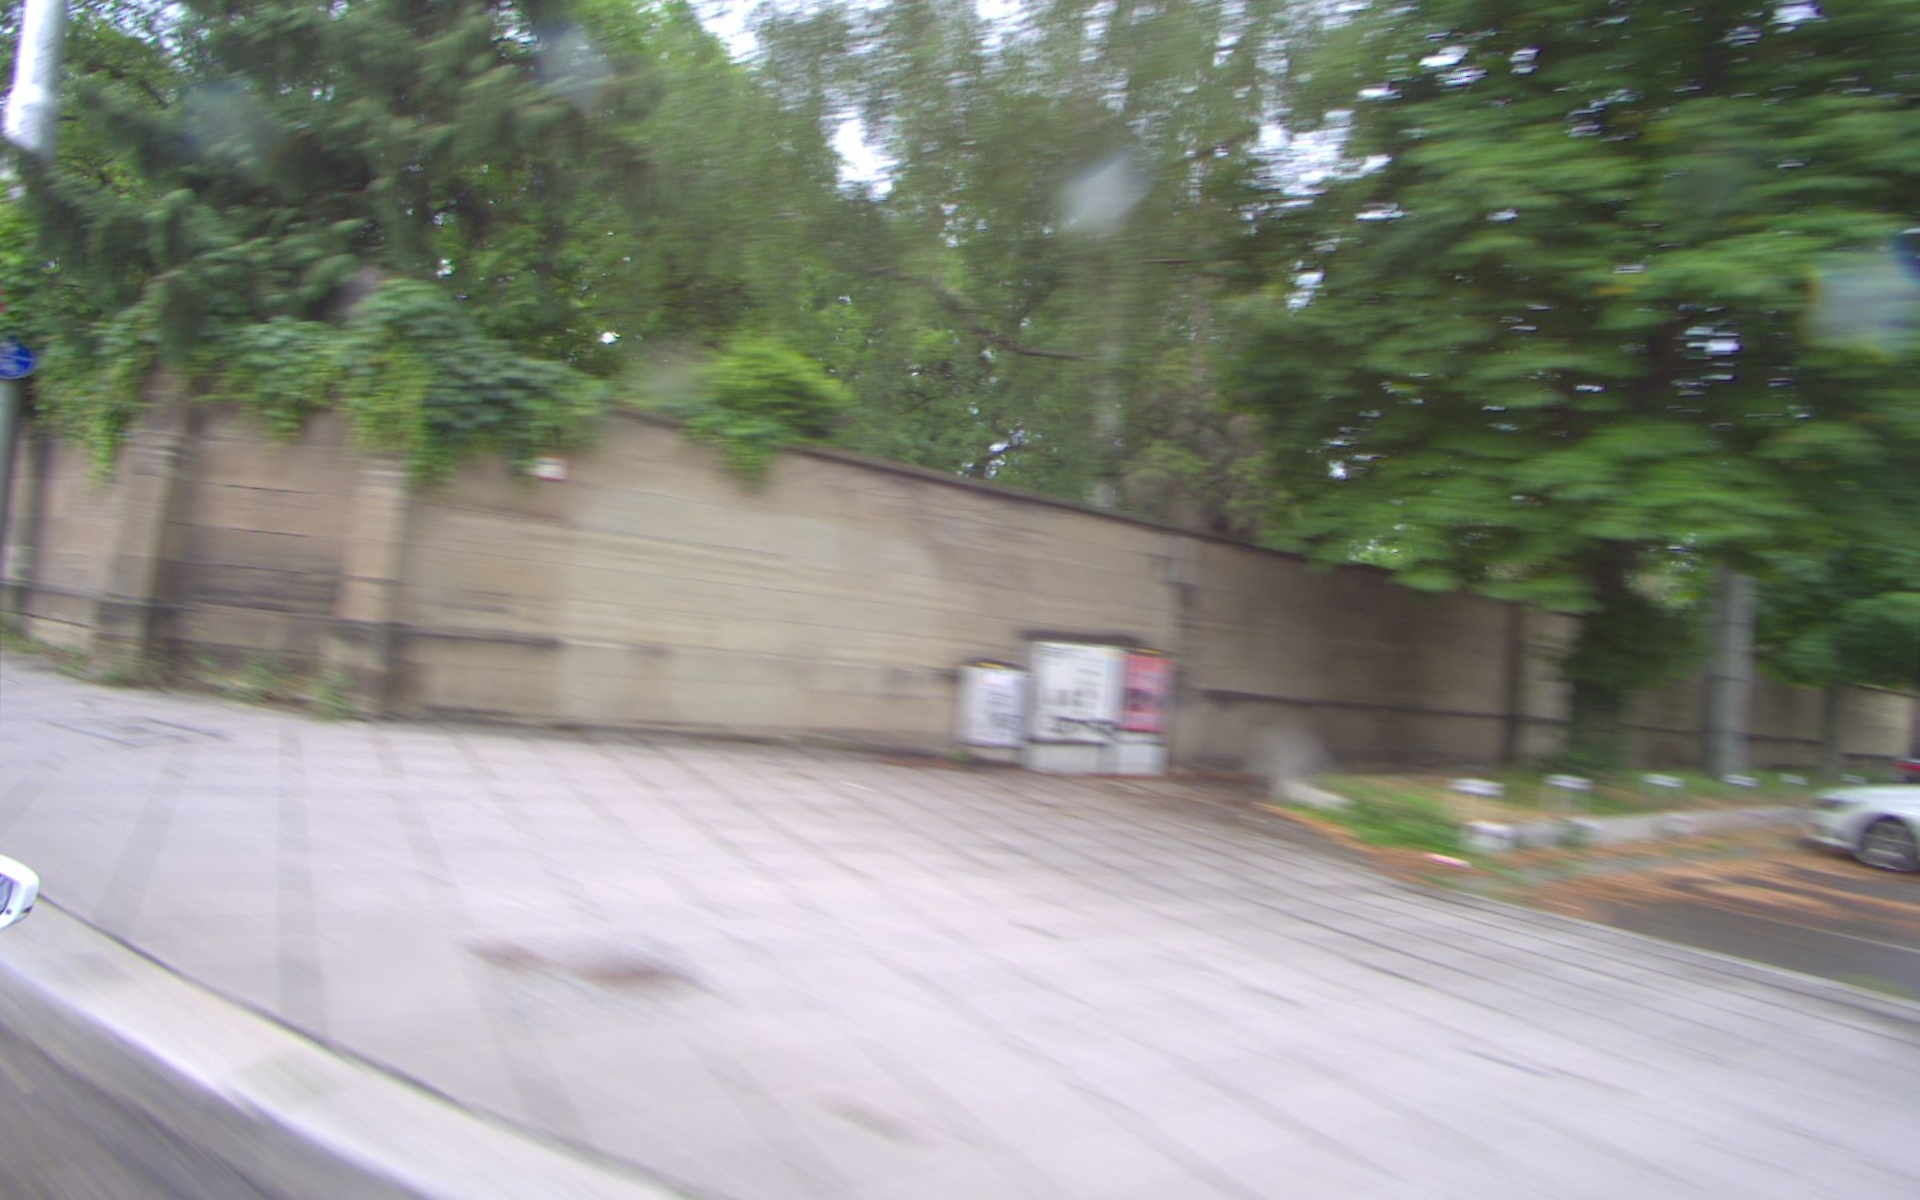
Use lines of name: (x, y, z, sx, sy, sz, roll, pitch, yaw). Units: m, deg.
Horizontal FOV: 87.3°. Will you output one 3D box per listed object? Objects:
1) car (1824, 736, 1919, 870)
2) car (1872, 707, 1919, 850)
car: (12.254, 2.442, 10.946, 1.741, 1.422, 3.968, 6, -3, -33)
car: (14.281, 2.464, 12.337, 1.741, 1.824, 4.239, 6, -3, -33)
